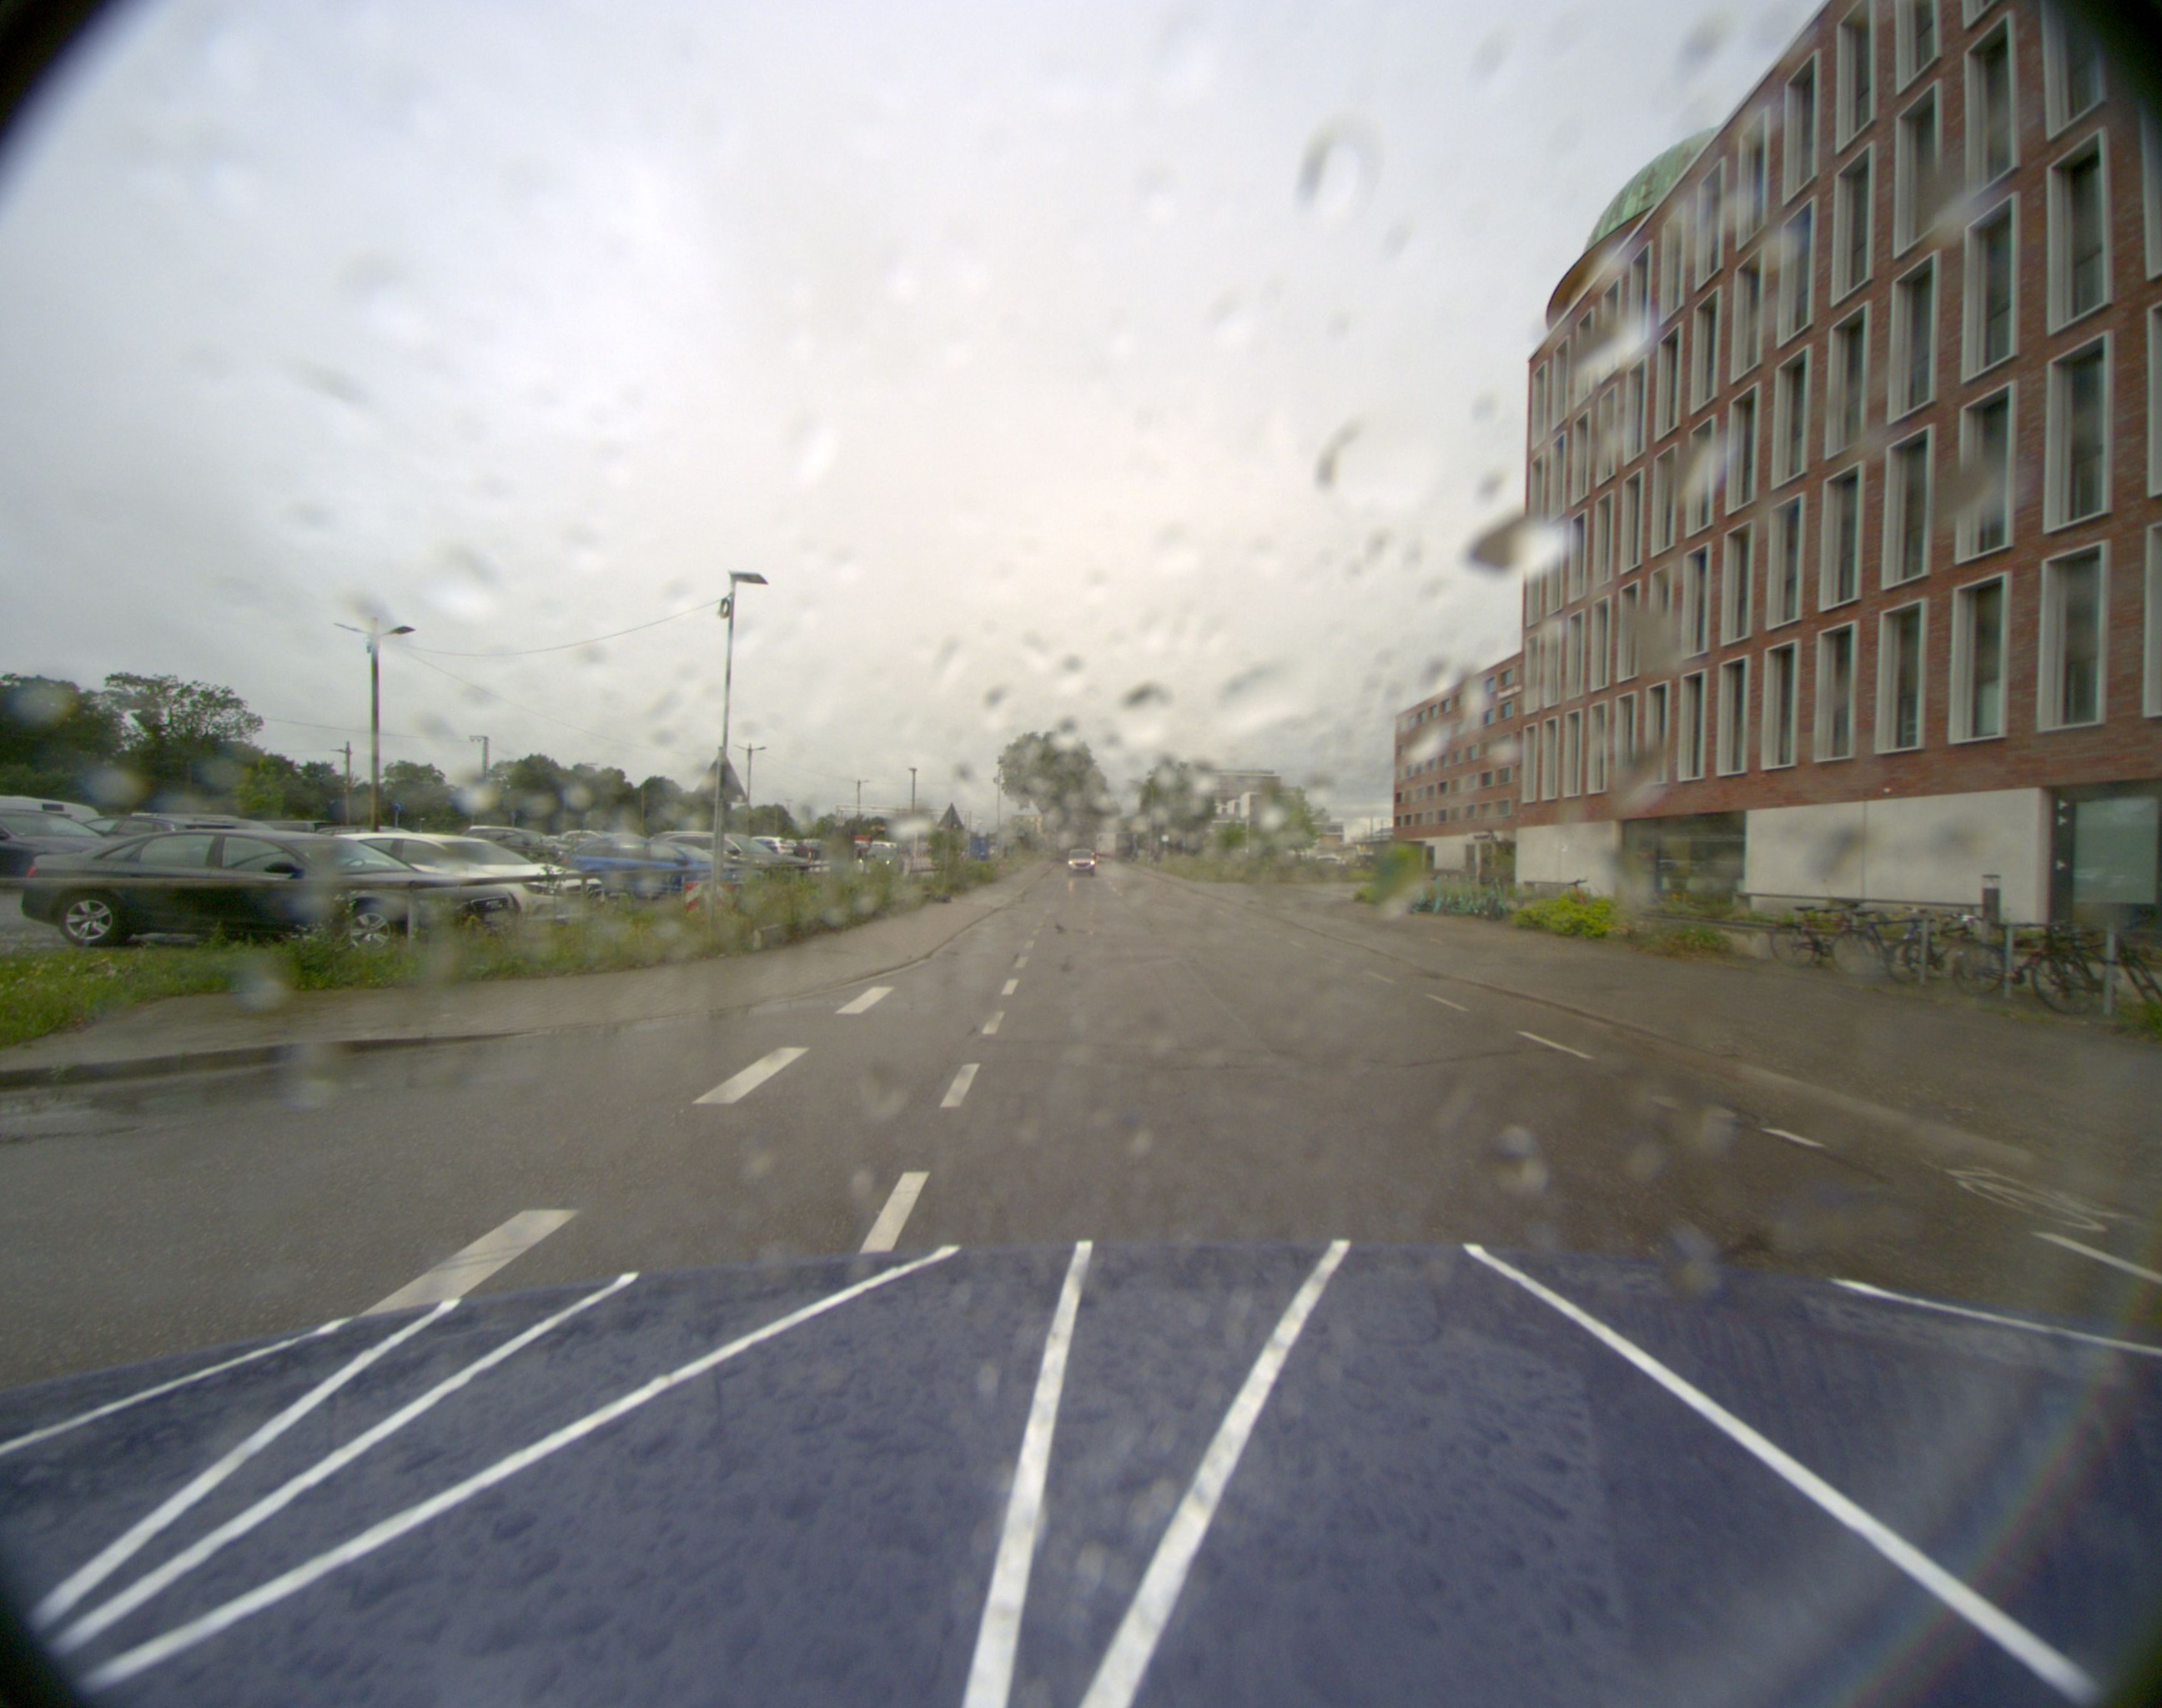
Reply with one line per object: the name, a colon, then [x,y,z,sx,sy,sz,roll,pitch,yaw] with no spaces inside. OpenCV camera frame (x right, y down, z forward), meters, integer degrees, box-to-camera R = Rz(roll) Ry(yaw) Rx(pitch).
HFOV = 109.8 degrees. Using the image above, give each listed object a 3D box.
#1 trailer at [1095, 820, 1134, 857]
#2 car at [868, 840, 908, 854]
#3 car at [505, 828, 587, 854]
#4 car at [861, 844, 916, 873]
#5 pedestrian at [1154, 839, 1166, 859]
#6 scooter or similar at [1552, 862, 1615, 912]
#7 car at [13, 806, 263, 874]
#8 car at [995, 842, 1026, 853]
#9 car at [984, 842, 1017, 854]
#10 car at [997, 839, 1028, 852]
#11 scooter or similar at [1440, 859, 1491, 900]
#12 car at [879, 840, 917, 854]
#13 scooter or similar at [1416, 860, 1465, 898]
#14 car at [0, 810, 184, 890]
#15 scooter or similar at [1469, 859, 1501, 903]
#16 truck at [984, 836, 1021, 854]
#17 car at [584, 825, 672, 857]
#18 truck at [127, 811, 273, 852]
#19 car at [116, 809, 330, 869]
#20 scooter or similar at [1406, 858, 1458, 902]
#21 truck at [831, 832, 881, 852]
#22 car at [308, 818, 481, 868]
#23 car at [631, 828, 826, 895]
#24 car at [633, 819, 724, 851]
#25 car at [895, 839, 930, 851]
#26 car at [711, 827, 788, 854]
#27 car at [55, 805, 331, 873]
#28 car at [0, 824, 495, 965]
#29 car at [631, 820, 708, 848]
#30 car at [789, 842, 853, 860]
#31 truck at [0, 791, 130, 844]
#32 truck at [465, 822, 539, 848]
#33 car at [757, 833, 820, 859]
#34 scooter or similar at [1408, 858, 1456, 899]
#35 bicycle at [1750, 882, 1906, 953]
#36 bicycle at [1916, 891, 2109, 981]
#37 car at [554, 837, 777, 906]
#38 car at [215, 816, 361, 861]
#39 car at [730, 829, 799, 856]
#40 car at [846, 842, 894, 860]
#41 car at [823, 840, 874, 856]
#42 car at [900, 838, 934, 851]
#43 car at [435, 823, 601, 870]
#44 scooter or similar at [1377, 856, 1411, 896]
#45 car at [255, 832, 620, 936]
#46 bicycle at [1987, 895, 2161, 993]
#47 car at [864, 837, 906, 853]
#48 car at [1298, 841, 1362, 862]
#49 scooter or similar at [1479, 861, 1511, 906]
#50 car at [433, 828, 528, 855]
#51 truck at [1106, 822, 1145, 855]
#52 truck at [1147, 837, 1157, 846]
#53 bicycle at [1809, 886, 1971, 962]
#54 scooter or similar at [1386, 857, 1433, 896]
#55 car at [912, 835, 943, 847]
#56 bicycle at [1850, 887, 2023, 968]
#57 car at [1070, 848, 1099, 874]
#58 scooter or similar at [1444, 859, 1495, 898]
trailer: [4.686,-2.098,102.704,3.299,4.627,13.742,2,1,10]
car: [-22.033,-0.797,86.759,3.961,1.419,1.886,3,2,2]
car: [-37.661,-0.916,53.571,4.330,1.711,2.020,1,1,-3]
car: [-10.265,0.224,40.784,1.899,1.448,4.226,2,0,-1]
pedestrian: [6.936,-0.411,66.573,0.911,1.708,1.026,1,2,0]
scooter or similar: [12.694,0.826,19.201,1.228,1.201,0.418,2,1,7]
car: [-26.467,-0.411,21.465,4.452,1.596,2.043,3,3,-1]
car: [-9.718,-0.890,104.462,4.171,1.412,1.862,0,2,-3]
car: [-9.482,-0.696,89.740,3.781,1.385,1.904,0,2,-2]
car: [-8.911,-1.104,99.011,3.906,1.586,1.896,0,2,-2]
scooter or similar: [11.524,0.768,22.802,1.321,1.171,0.467,1,1,-12]
car: [-21.420,-0.859,89.081,3.961,1.419,1.886,3,2,2]
scooter or similar: [11.666,0.789,24.665,1.319,1.171,0.467,2,1,6]
car: [-20.210,-0.117,14.411,3.997,1.401,1.999,0,2,1]
scooter or similar: [11.651,0.769,21.897,0.466,1.223,1.210,3,2,42]
truck: [-11.001,-1.288,107.194,5.047,2.389,2.109,0,2,-2]
car: [-27.024,-0.795,45.404,4.070,1.596,1.926,3,3,1]
truck: [-49.353,-1.230,42.768,2.076,2.126,5.085,2,1,5]
car: [-27.302,-0.498,24.308,4.452,1.596,2.043,3,3,-1]
scooter or similar: [10.361,0.742,22.438,1.317,1.223,0.468,2,1,29]
truck: [-27.364,-1.466,92.522,5.302,2.354,2.152,2,1,0]
car: [-26.085,-0.448,28.985,4.714,1.596,2.042,3,3,-1]
car: [-10.171,0.167,22.139,4.691,1.725,2.128,2,2,4]
car: [-21.623,-1.044,40.951,3.838,1.476,1.927,3,3,3]
car: [-21.669,-1.186,97.826,3.961,1.419,1.886,3,2,2]
car: [-21.159,-0.867,48.607,4.054,1.476,1.927,3,3,3]
car: [-20.297,-0.365,17.527,3.997,1.477,1.999,0,2,1]
car: [-10.235,0.453,9.463,4.231,1.392,1.888,3,2,-8]
car: [-27.669,-1.336,51.178,4.071,1.650,1.831,3,3,-2]
car: [-21.470,-0.256,62.849,4.599,1.214,1.977,2,2,-1]
truck: [-49.363,-1.676,36.045,2.077,2.388,5.083,2,1,0]
truck: [-48.333,-1.577,63.584,2.086,2.002,5.279,2,1,1]
car: [-20.827,-0.588,54.185,3.783,1.575,1.786,3,3,3]
scooter or similar: [10.947,0.747,23.718,0.468,1.223,1.317,1,1,-29]
bicycle: [12.155,1.024,12.394,1.953,1.071,0.620,-1,2,-1]
bicycle: [12.145,1.055,9.930,1.864,1.071,0.544,-1,2,-1]
car: [-9.798,0.381,18.161,4.306,1.508,1.819,0,2,1]
car: [-37.353,-0.724,35.893,4.796,1.987,2.021,1,1,0]
car: [-21.418,-0.799,51.500,3.912,1.575,1.786,3,3,3]
car: [-19.953,-0.295,72.080,3.961,1.482,1.869,3,2,2]
car: [-20.666,-0.538,67.588,3.896,1.214,1.648,3,2,5]
car: [-21.687,-1.282,100.607,3.961,1.419,1.821,3,2,2]
car: [-21.262,-0.297,28.878,4.633,1.707,2.017,0,2,-6]
scooter or similar: [10.270,0.705,24.932,0.467,1.223,1.320,2,1,-3]
car: [-10.056,0.422,12.154,4.192,1.501,1.890,0,2,1]
bicycle: [12.119,1.064,9.116,1.864,1.071,0.544,-1,2,-1]
car: [-20.847,-0.923,81.055,3.961,1.482,1.777,3,2,2]
car: [20.554,-0.221,62.844,4.534,1.632,1.999,1,2,-3]
scooter or similar: [11.454,0.794,21.013,0.466,1.201,1.210,3,2,42]
car: [-37.685,-0.781,47.744,4.329,1.580,2.020,1,1,-1]
truck: [6.443,-2.227,109.821,3.295,4.627,6.044,2,2,28]
truck: [21.126,-3.888,227.668,2.090,2.604,6.975,1,1,-1]
bicycle: [12.174,1.043,11.461,1.864,1.071,0.544,-1,2,-1]
scooter or similar: [11.087,0.749,25.671,1.316,1.223,0.509,2,1,38]
car: [-22.063,-1.867,109.073,3.961,1.529,1.806,3,2,2]
bicycle: [12.173,1.037,10.833,1.864,1.071,0.544,-1,2,-1]
car: [0.217,0.485,52.509,1.838,1.714,4.172,2,0,-1]
scooter or similar: [12.320,0.757,24.098,1.319,1.171,0.467,2,1,6]
